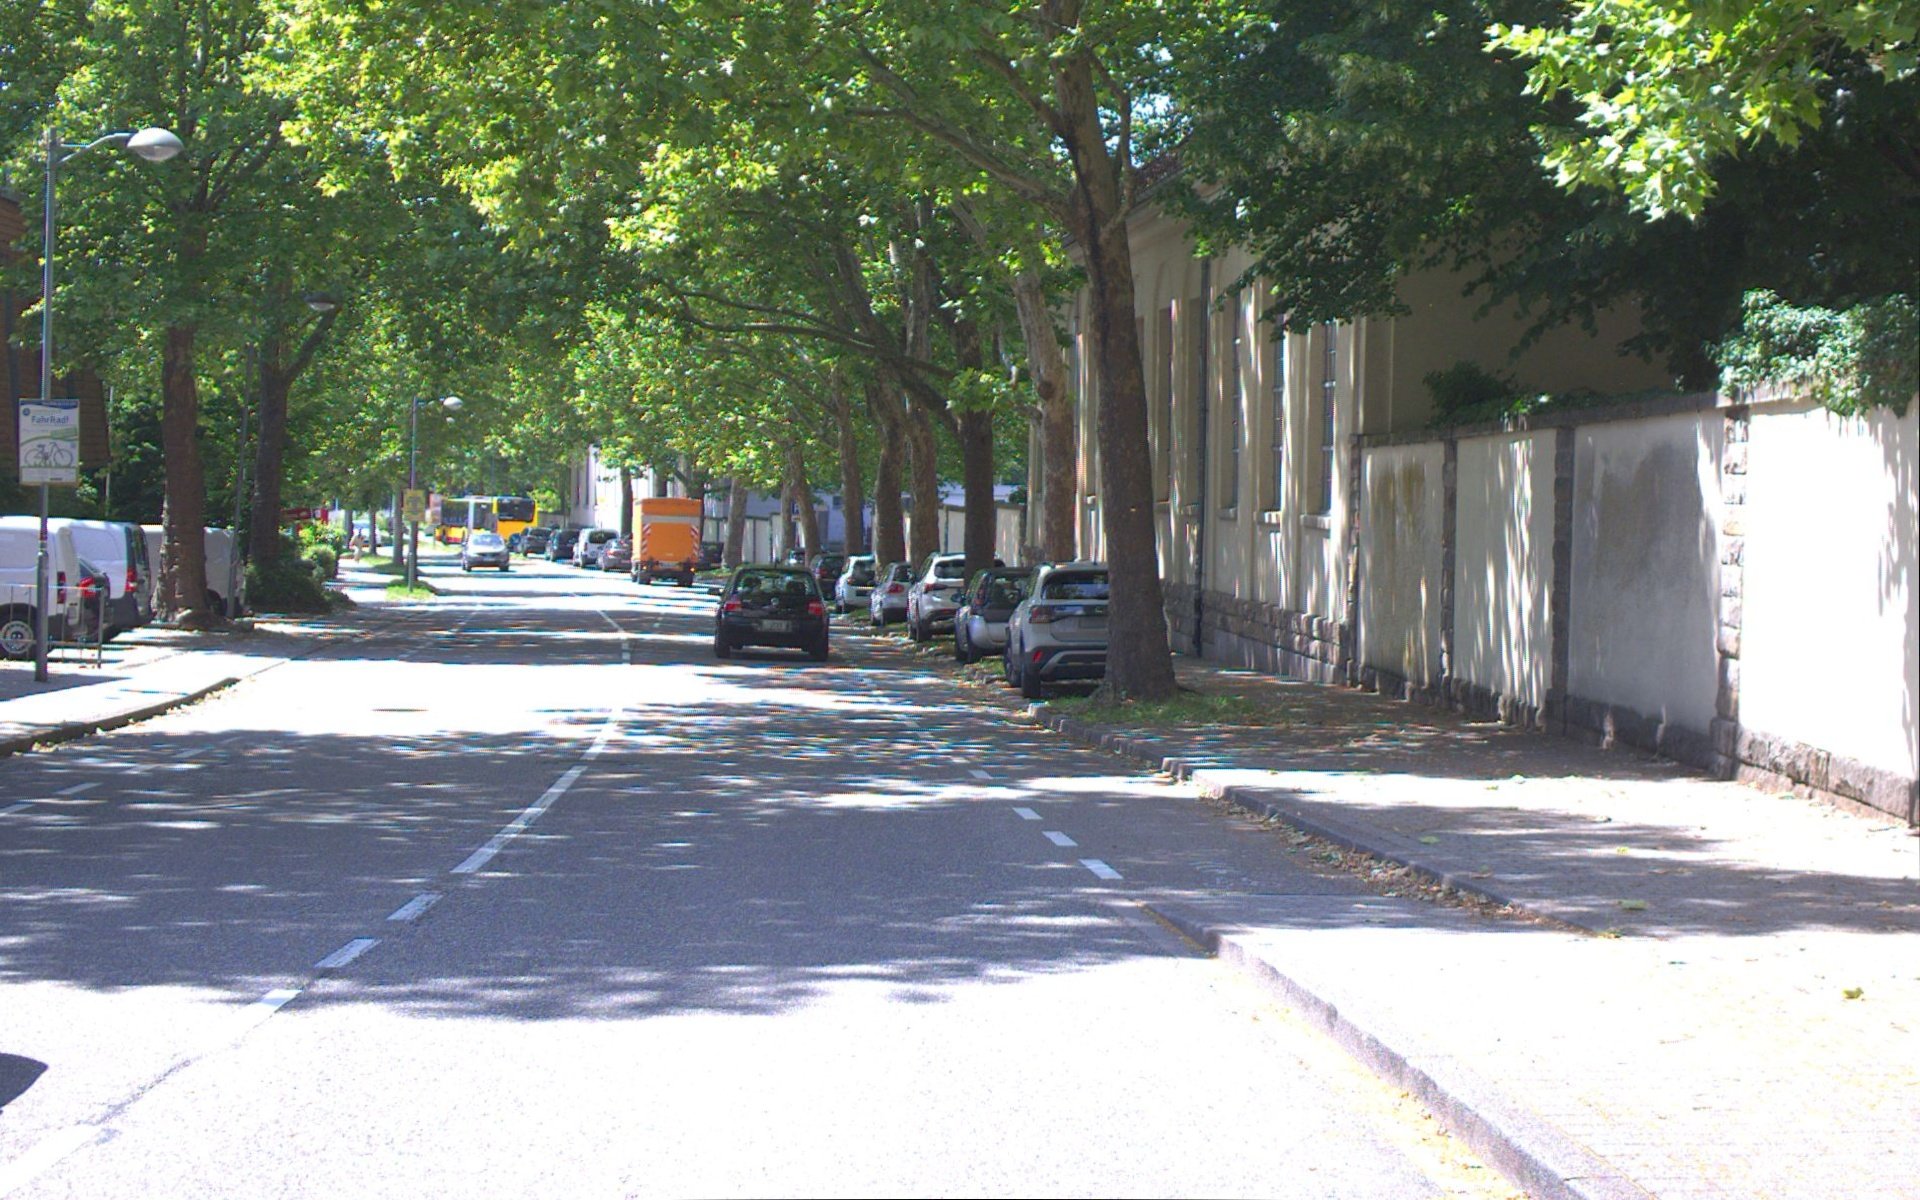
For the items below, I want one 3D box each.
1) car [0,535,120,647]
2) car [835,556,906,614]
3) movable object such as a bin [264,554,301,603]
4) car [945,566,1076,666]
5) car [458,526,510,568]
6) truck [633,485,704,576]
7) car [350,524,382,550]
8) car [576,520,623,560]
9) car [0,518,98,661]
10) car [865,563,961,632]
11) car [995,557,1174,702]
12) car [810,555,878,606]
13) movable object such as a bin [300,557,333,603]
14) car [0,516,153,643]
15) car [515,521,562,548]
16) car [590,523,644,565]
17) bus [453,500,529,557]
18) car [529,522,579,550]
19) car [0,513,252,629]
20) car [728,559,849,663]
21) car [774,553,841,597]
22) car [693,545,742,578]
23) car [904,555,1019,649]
[{"bbox_3d":[-14.214,-0.190,49.254,3.986,1.510,1.869,3,0,-7],"label":"car"},{"bbox_3d":[-2.354,-0.406,89.569,1.577,1.461,3.876,0,1,-6],"label":"car"},{"bbox_3d":[-15.401,-0.492,78.161,0.734,1.074,0.701,1,1,-4],"label":"movable object such as a bin"},{"bbox_3d":[0.733,0.213,52.899,1.621,1.435,4.433,0,1,-4],"label":"car"},{"bbox_3d":[-19.838,-2.197,143.287,1.993,1.660,4.001,1,0,-10],"label":"car"},{"bbox_3d":[-10.631,-2.479,125.179,2.370,3.123,5.770,1,0,-6],"label":"truck"},{"bbox_3d":[-34.496,-3.654,199.524,1.710,1.442,4.059,0,1,-11],"label":"car"},{"bbox_3d":[-16.329,-2.698,155.406,1.879,1.680,4.001,1,0,-9],"label":"car"},{"bbox_3d":[-13.433,-0.216,44.781,3.986,1.786,1.869,3,0,-7],"label":"car"},{"bbox_3d":[-1.047,-0.069,75.139,1.766,1.428,3.876,0,1,-6],"label":"car"},{"bbox_3d":[1.438,0.304,41.370,1.741,1.552,4.781,-1,2,-3],"label":"car"},{"bbox_3d":[-3.453,-0.592,102.141,1.766,1.461,3.876,0,1,-6],"label":"car"},{"bbox_3d":[-14.645,-0.459,78.250,0.623,1.045,0.620,1,1,0],"label":"movable object such as a bin"},{"bbox_3d":[-14.577,-0.369,51.844,4.422,1.798,1.904,3,0,-7],"label":"car"},{"bbox_3d":[-21.675,-3.339,176.715,1.766,1.369,3.731,0,1,-16],"label":"car"},{"bbox_3d":[-14.799,-2.391,148.088,1.879,1.680,4.001,1,0,-12],"label":"car"},{"bbox_3d":[-27.096,-4.068,198.203,2.663,3.140,11.201,0,1,-17],"label":"bus"},{"bbox_3d":[-19.790,-3.107,167.425,1.766,1.369,3.731,-1,1,-17],"label":"car"},{"bbox_3d":[-14.560,-0.513,59.895,4.127,1.798,1.904,3,0,-7],"label":"car"},{"bbox_3d":[-2.701,0.138,53.423,1.711,1.442,4.059,1,2,-5],"label":"car"},{"bbox_3d":[-4.981,-0.824,111.881,1.766,1.369,3.731,0,1,-9],"label":"car"},{"bbox_3d":[-10.407,-1.660,147.257,1.766,1.369,3.731,1,0,-9],"label":"car"},{"bbox_3d":[-0.004,0.011,64.578,1.807,1.683,4.752,0,1,-4],"label":"car"}]
